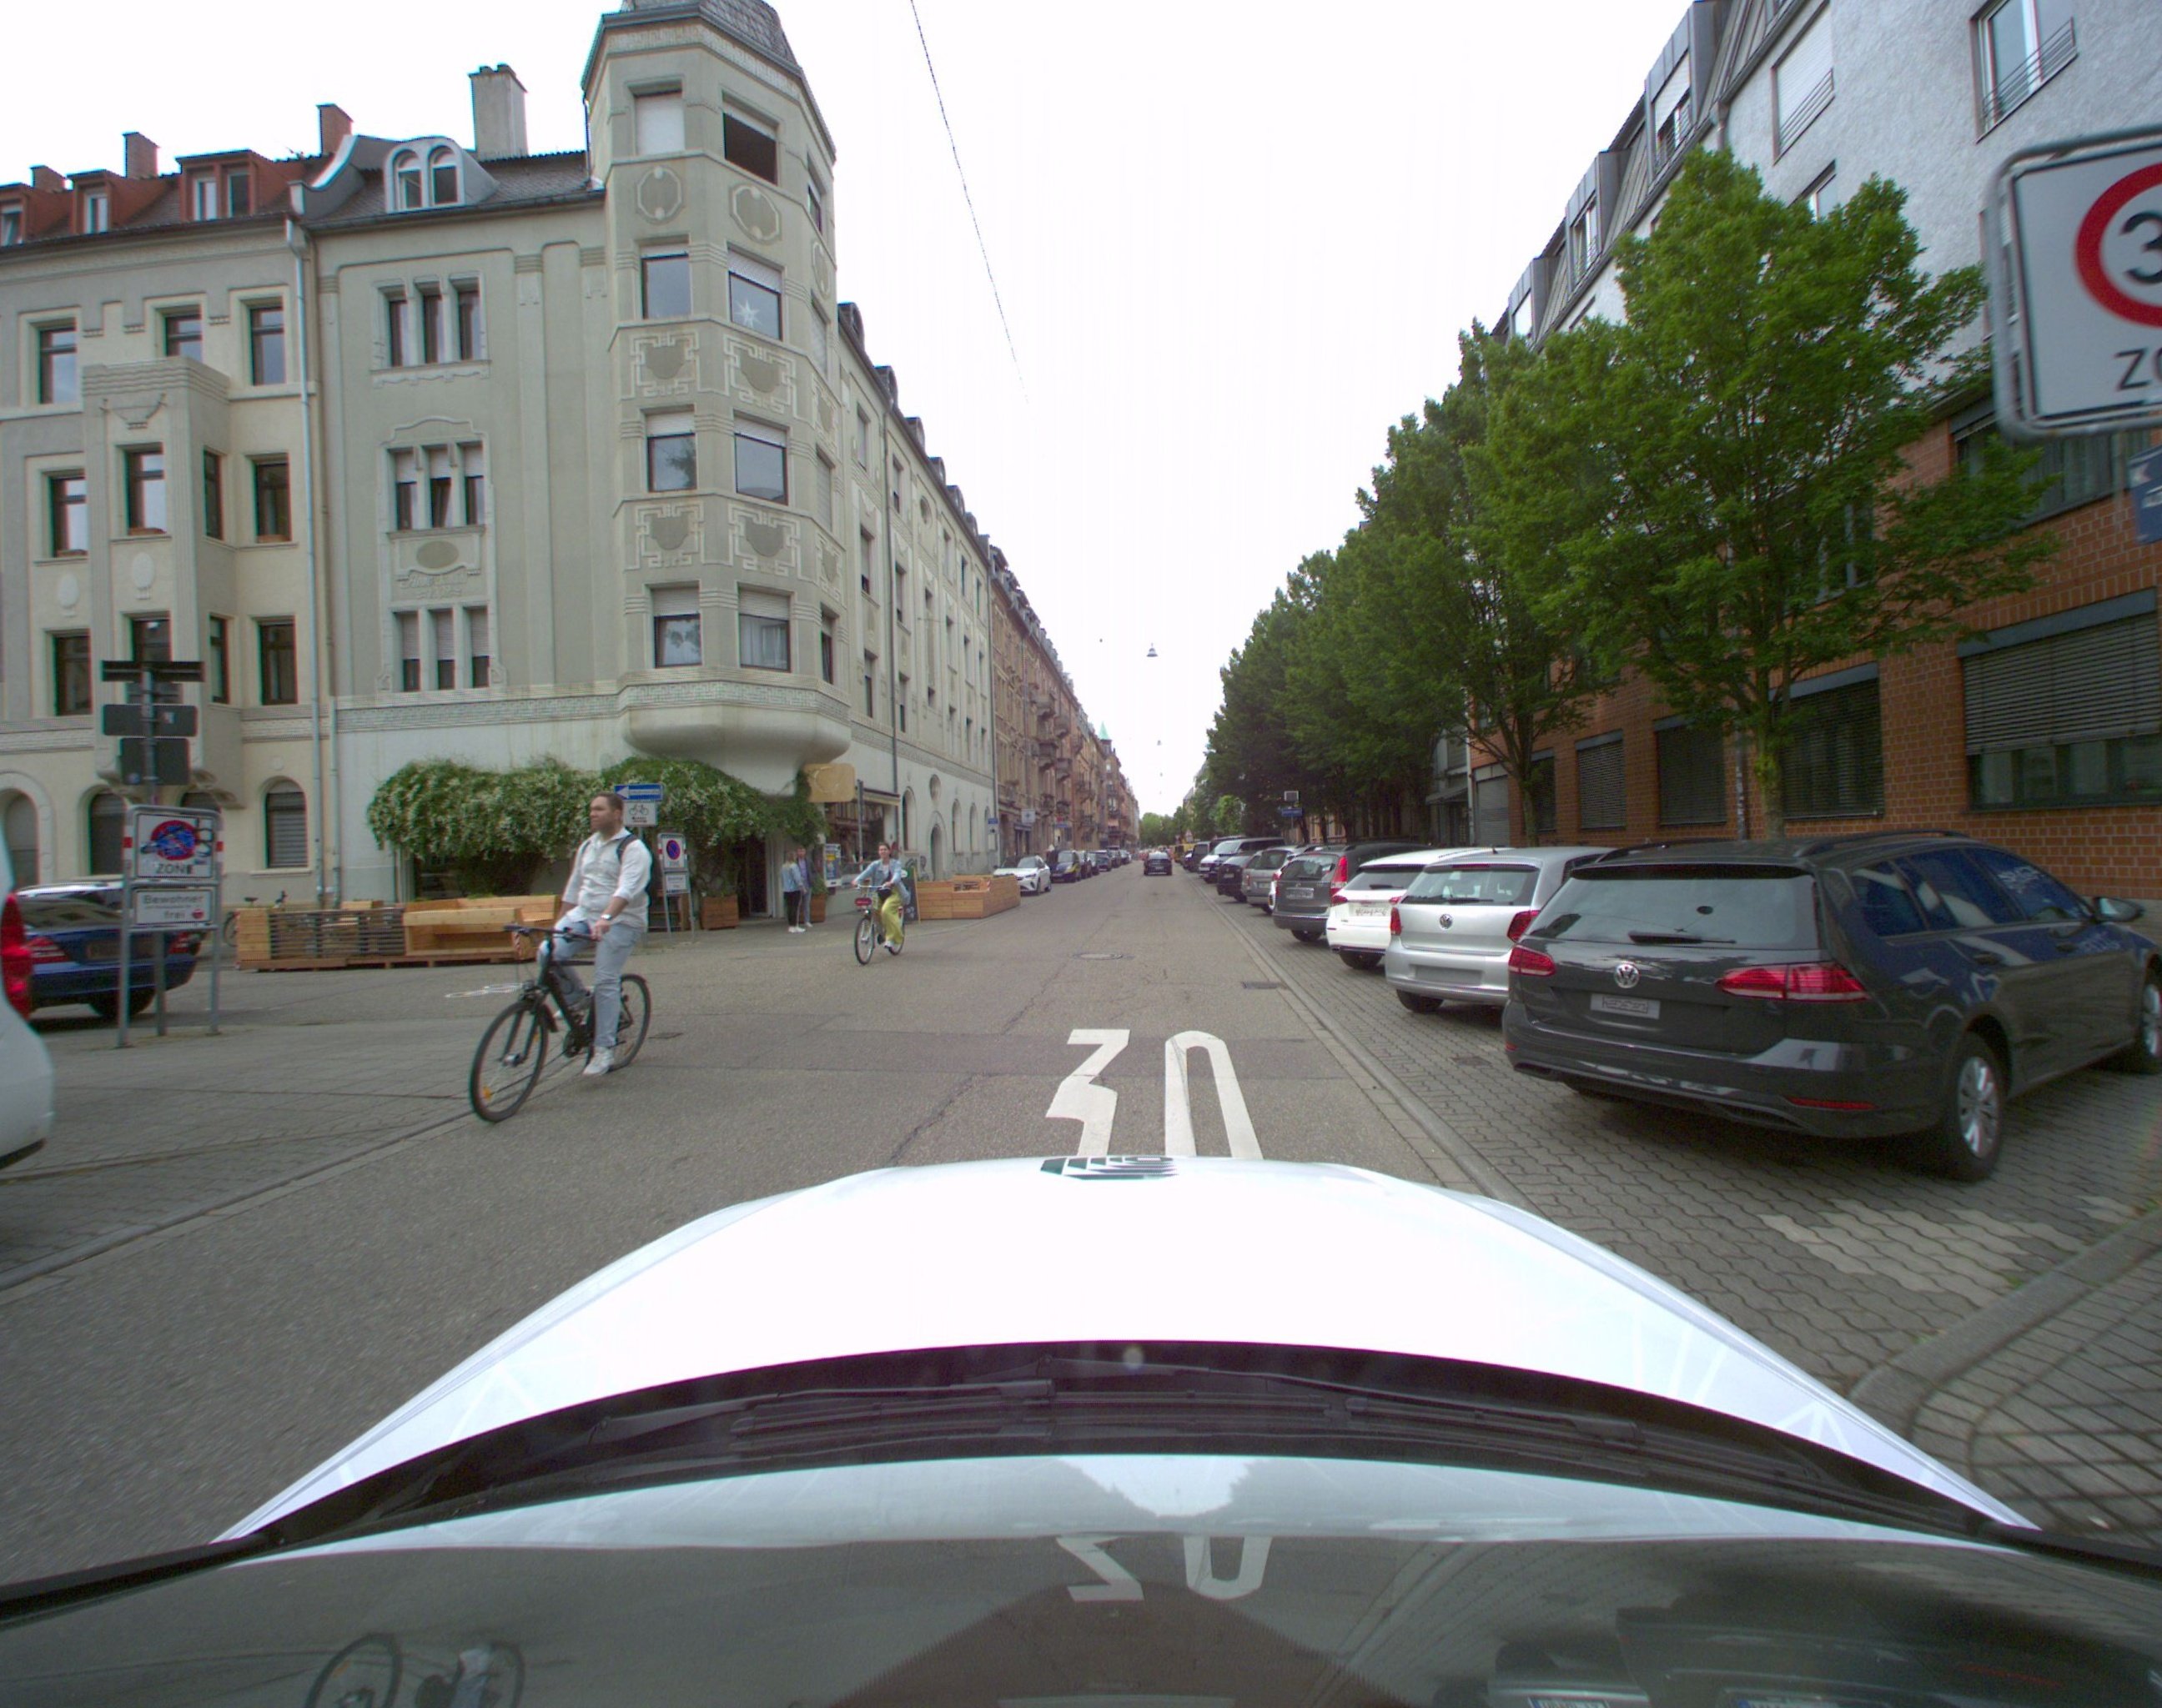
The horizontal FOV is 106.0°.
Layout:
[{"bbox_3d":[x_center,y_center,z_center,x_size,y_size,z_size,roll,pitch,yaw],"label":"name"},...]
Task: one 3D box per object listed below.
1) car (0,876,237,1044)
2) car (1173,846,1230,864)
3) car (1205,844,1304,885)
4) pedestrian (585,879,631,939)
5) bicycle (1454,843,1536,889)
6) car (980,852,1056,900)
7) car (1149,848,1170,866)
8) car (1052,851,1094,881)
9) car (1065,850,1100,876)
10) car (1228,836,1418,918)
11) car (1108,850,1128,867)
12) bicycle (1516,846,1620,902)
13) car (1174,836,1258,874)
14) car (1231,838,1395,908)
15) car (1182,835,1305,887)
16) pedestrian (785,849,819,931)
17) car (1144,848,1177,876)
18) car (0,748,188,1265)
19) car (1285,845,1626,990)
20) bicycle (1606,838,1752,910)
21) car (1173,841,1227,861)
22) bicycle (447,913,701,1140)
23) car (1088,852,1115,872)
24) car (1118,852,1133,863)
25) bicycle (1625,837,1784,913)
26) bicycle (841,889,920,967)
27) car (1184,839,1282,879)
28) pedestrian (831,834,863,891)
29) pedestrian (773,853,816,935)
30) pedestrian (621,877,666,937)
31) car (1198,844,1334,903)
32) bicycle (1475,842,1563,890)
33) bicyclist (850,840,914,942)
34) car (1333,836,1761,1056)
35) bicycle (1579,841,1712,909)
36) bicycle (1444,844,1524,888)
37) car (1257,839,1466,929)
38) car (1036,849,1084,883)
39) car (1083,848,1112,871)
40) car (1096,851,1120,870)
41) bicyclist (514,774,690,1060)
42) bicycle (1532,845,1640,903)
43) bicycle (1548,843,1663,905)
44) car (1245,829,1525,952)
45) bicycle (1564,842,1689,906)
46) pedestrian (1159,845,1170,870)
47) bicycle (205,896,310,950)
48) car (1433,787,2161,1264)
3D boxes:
[{"bbox_3d":[-12.180,1.139,8.948,4.040,1.607,1.770,-3,-1,3],"label":"car"},{"bbox_3d":[12.043,0.121,81.082,5.412,1.553,1.935,-2,0,-25],"label":"car"},{"bbox_3d":[7.380,0.428,34.605,3.874,1.505,1.754,-3,-1,-29],"label":"car"},{"bbox_3d":[-9.932,1.141,17.106,0.575,1.197,0.556,-2,0,5],"label":"pedestrian"},{"bbox_3d":[10.426,0.309,20.550,1.744,1.092,0.566,-2,-1,5],"label":"bicycle"},{"bbox_3d":[-2.248,0.773,30.087,1.933,1.553,3.826,-3,-1,8],"label":"car"},{"bbox_3d":[7.704,0.284,80.451,1.984,1.681,4.004,-2,-1,4],"label":"car"},{"bbox_3d":[-0.416,0.677,47.246,1.934,1.617,3.949,-1,0,6],"label":"car"},{"bbox_3d":[0.135,0.574,54.318,1.935,1.617,3.948,-1,0,5],"label":"car"},{"bbox_3d":[5.644,0.498,18.970,4.067,1.585,1.756,-3,-1,-26],"label":"car"},{"bbox_3d":[4.236,0.491,92.780,1.934,1.738,3.949,-2,0,6],"label":"car"},{"bbox_3d":[10.052,0.410,16.855,1.744,1.092,0.566,-2,-1,5],"label":"bicycle"},{"bbox_3d":[9.490,0.062,57.370,5.398,2.373,1.940,-3,-1,-16],"label":"car"},{"bbox_3d":[6.187,0.482,21.659,4.071,1.585,1.755,-3,-1,-29],"label":"car"},{"bbox_3d":[7.634,0.301,38.144,5.641,2.127,1.932,-3,-1,-29],"label":"car"},{"bbox_3d":[-6.046,0.777,17.618,0.582,1.734,0.501,-1,-2,-30],"label":"pedestrian"},{"bbox_3d":[5.109,0.535,52.688,1.984,1.681,4.004,-2,-1,4],"label":"car"},{"bbox_3d":[-5.205,0.605,1.469,1.833,1.939,4.557,-2,0,7],"label":"car"},{"bbox_3d":[4.791,0.665,10.404,3.994,1.543,1.860,0,0,-26],"label":"car"},{"bbox_3d":[9.694,0.325,13.246,1.886,1.092,0.543,-2,-1,5],"label":"bicycle"},{"bbox_3d":[12.559,-0.320,85.823,5.412,1.868,1.934,-3,-1,-25],"label":"car"},{"bbox_3d":[-3.281,1.030,5.522,0.566,1.087,1.984,-2,0,-4],"label":"bicycle"},{"bbox_3d":[1.754,0.683,68.351,1.935,1.617,3.948,-1,0,5],"label":"car"},{"bbox_3d":[6.266,0.481,115.562,1.986,1.499,4.002,-2,-1,2],"label":"car"},{"bbox_3d":[9.640,0.322,12.641,1.924,1.092,0.577,-2,-1,5],"label":"bicycle"},{"bbox_3d":[-2.838,1.016,11.711,0.533,0.977,1.867,-2,-1,4],"label":"bicycle"},{"bbox_3d":[8.650,0.261,46.197,5.419,1.992,1.932,-3,-1,-29],"label":"car"},{"bbox_3d":[-6.700,0.246,23.304,0.747,1.593,0.614,-1,-2,-25],"label":"pedestrian"},{"bbox_3d":[-5.945,0.829,16.893,0.573,1.660,0.579,-2,-2,27],"label":"pedestrian"},{"bbox_3d":[-9.145,1.110,17.040,0.575,1.197,0.556,-2,0,5],"label":"pedestrian"},{"bbox_3d":[5.570,0.570,24.378,3.880,1.505,1.752,-3,-1,-35],"label":"car"},{"bbox_3d":[10.566,0.286,19.682,1.744,1.092,0.566,-2,-1,5],"label":"bicycle"},{"bbox_3d":[-2.843,0.523,11.678,0.665,1.399,0.784,-2,-1,2],"label":"bicyclist"},{"bbox_3d":[4.272,0.636,7.421,3.577,1.499,1.828,-2,0,-30],"label":"car"},{"bbox_3d":[9.717,0.362,14.056,1.827,1.092,0.543,-2,-1,5],"label":"bicycle"},{"bbox_3d":[10.491,0.312,21.235,1.744,1.092,0.566,-2,-1,5],"label":"bicycle"},{"bbox_3d":[5.663,0.544,16.305,4.073,1.486,1.665,-3,-1,-31],"label":"car"},{"bbox_3d":[-1.012,0.583,41.796,1.934,1.617,3.949,-1,0,6],"label":"car"},{"bbox_3d":[1.347,0.409,63.324,1.935,1.617,3.948,-2,0,5],"label":"car"},{"bbox_3d":[2.512,0.591,75.230,1.934,1.742,3.949,-1,0,6],"label":"car"},{"bbox_3d":[-3.345,0.411,5.754,0.780,1.866,0.713,-2,0,-4],"label":"bicyclist"},{"bbox_3d":[10.049,0.397,16.247,1.744,1.092,0.566,-2,-1,5],"label":"bicycle"},{"bbox_3d":[9.939,0.382,15.469,1.744,1.092,0.566,-2,-1,5],"label":"bicycle"},{"bbox_3d":[4.890,0.517,13.080,4.068,1.585,1.887,-3,-1,-26],"label":"car"},{"bbox_3d":[9.911,0.372,14.838,1.827,1.092,0.566,-2,-1,5],"label":"bicycle"},{"bbox_3d":[7.174,0.290,69.829,0.887,2.146,1.029,-2,-1,4],"label":"pedestrian"},{"bbox_3d":[-18.207,1.526,18.016,1.732,1.097,0.727,-2,0,9],"label":"bicycle"},{"bbox_3d":[4.324,0.550,4.713,4.298,1.578,1.846,-4,0,-28],"label":"car"}]
